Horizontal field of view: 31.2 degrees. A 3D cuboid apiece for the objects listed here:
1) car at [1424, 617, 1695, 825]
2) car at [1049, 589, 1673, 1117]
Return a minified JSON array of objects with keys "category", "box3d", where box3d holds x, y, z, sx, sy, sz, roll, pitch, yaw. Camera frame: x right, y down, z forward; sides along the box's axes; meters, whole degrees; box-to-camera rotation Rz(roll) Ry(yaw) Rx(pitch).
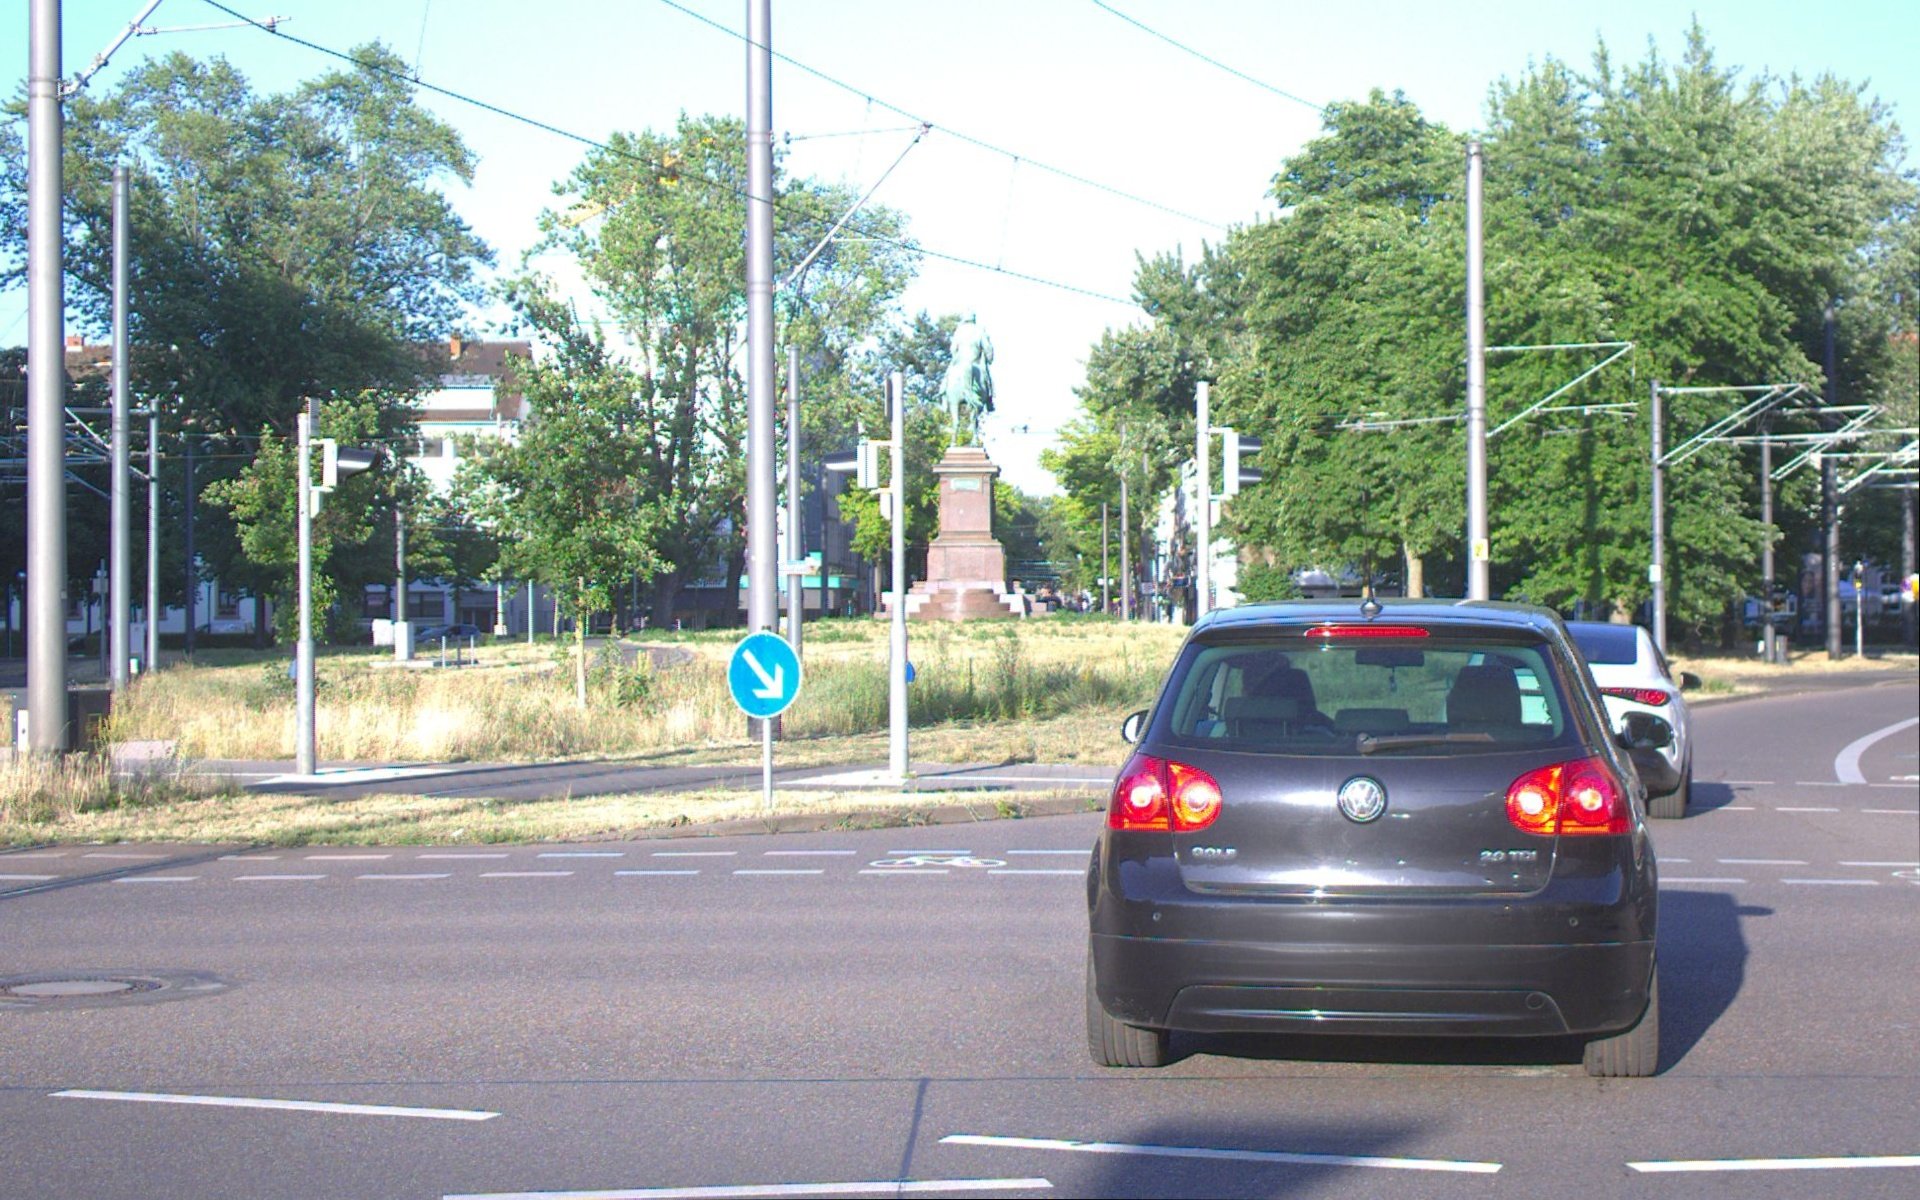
[{"category":"car","box3d":[4.670,0.857,26.358,1.866,1.436,4.194,0,0,12]},{"category":"car","box3d":[1.494,0.707,11.760,1.748,1.456,4.101,1,0,10]}]
